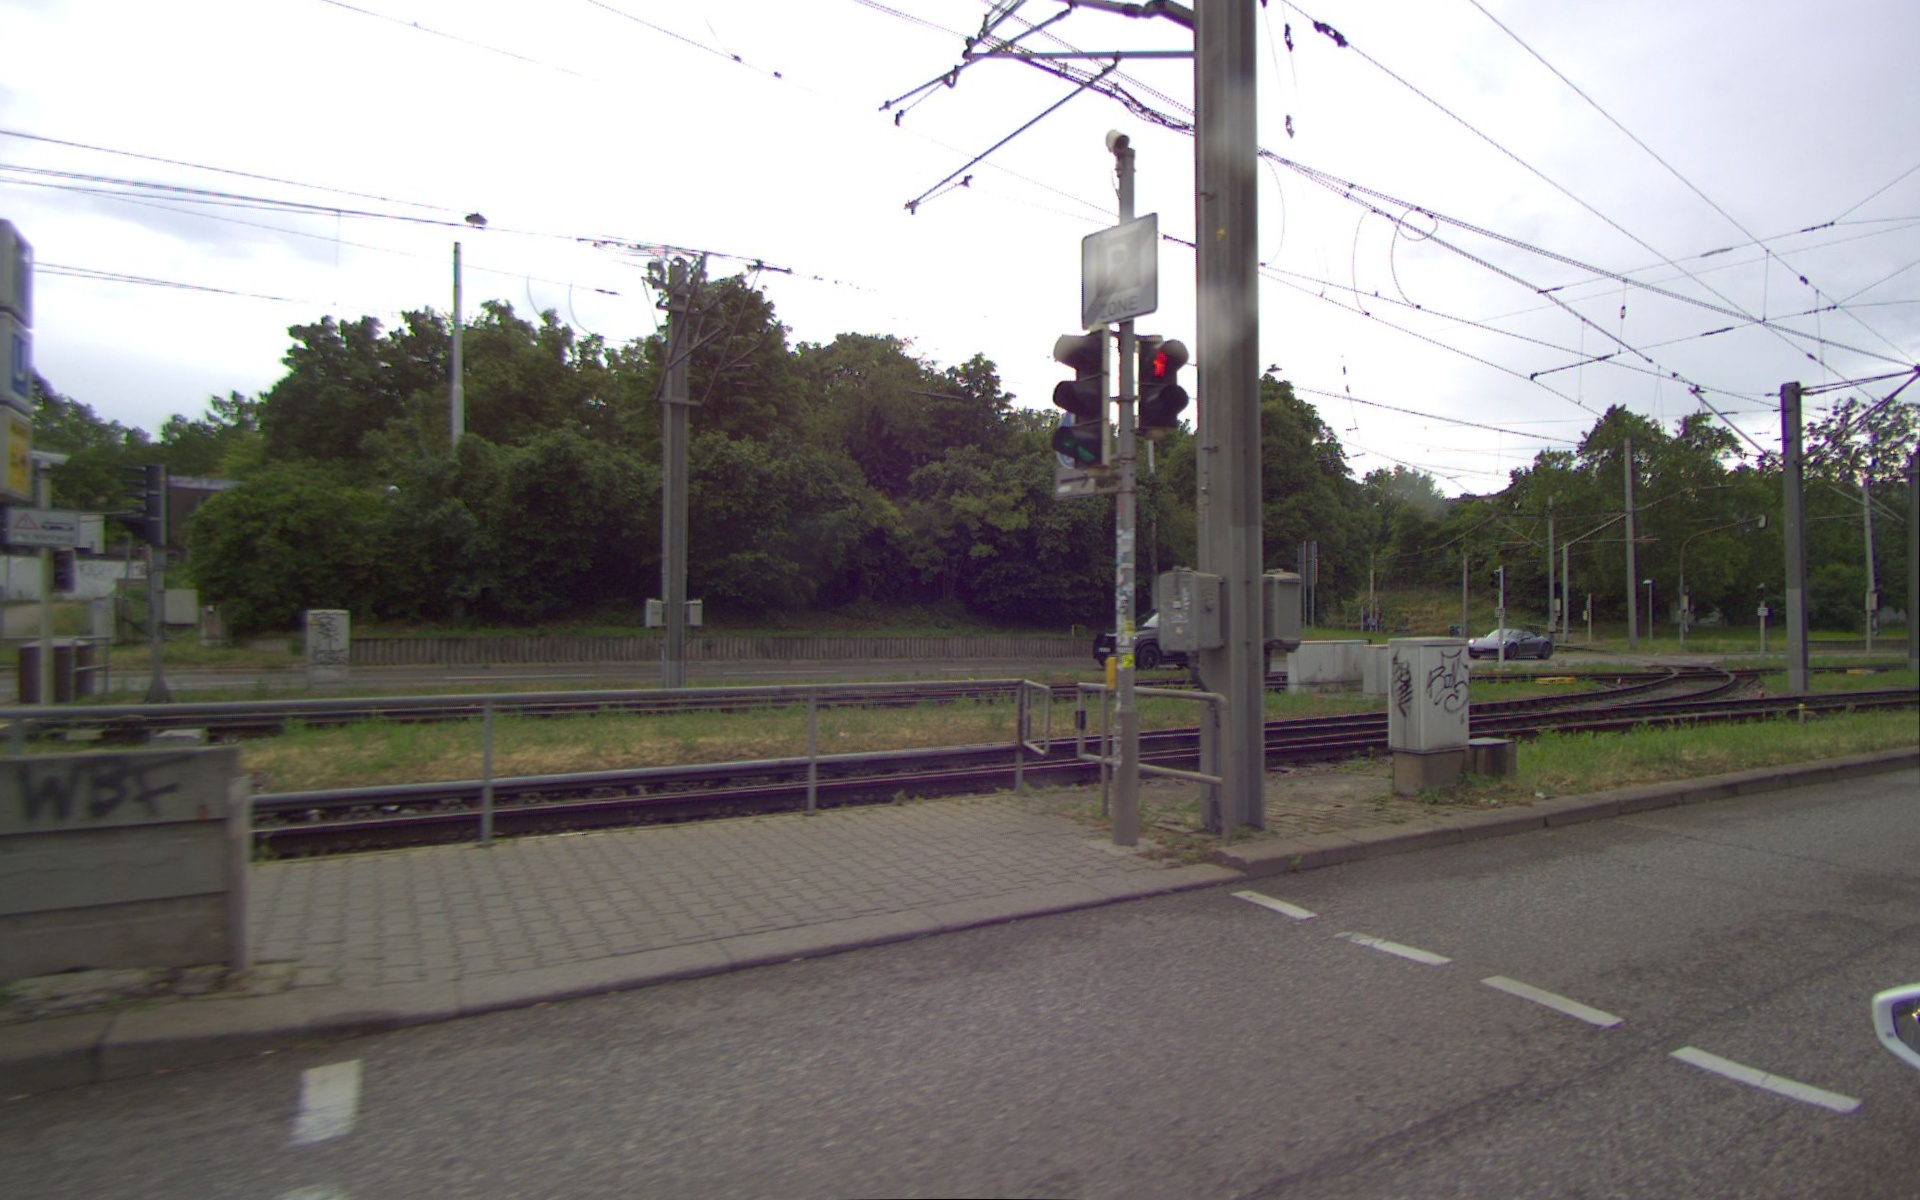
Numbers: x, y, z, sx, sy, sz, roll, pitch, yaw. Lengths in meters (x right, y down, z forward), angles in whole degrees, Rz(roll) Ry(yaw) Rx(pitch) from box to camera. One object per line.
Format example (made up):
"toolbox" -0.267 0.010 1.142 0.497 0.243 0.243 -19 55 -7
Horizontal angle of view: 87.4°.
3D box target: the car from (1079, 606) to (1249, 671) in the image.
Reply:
"car" 6.030 1.094 29.556 4.807 1.762 2.072 1 -1 -31

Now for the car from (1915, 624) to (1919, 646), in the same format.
"car" 65.356 2.305 66.244 4.619 1.466 1.921 1 -1 -26

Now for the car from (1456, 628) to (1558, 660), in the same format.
"car" 23.461 1.856 43.073 4.423 1.278 1.917 1 -1 -31
